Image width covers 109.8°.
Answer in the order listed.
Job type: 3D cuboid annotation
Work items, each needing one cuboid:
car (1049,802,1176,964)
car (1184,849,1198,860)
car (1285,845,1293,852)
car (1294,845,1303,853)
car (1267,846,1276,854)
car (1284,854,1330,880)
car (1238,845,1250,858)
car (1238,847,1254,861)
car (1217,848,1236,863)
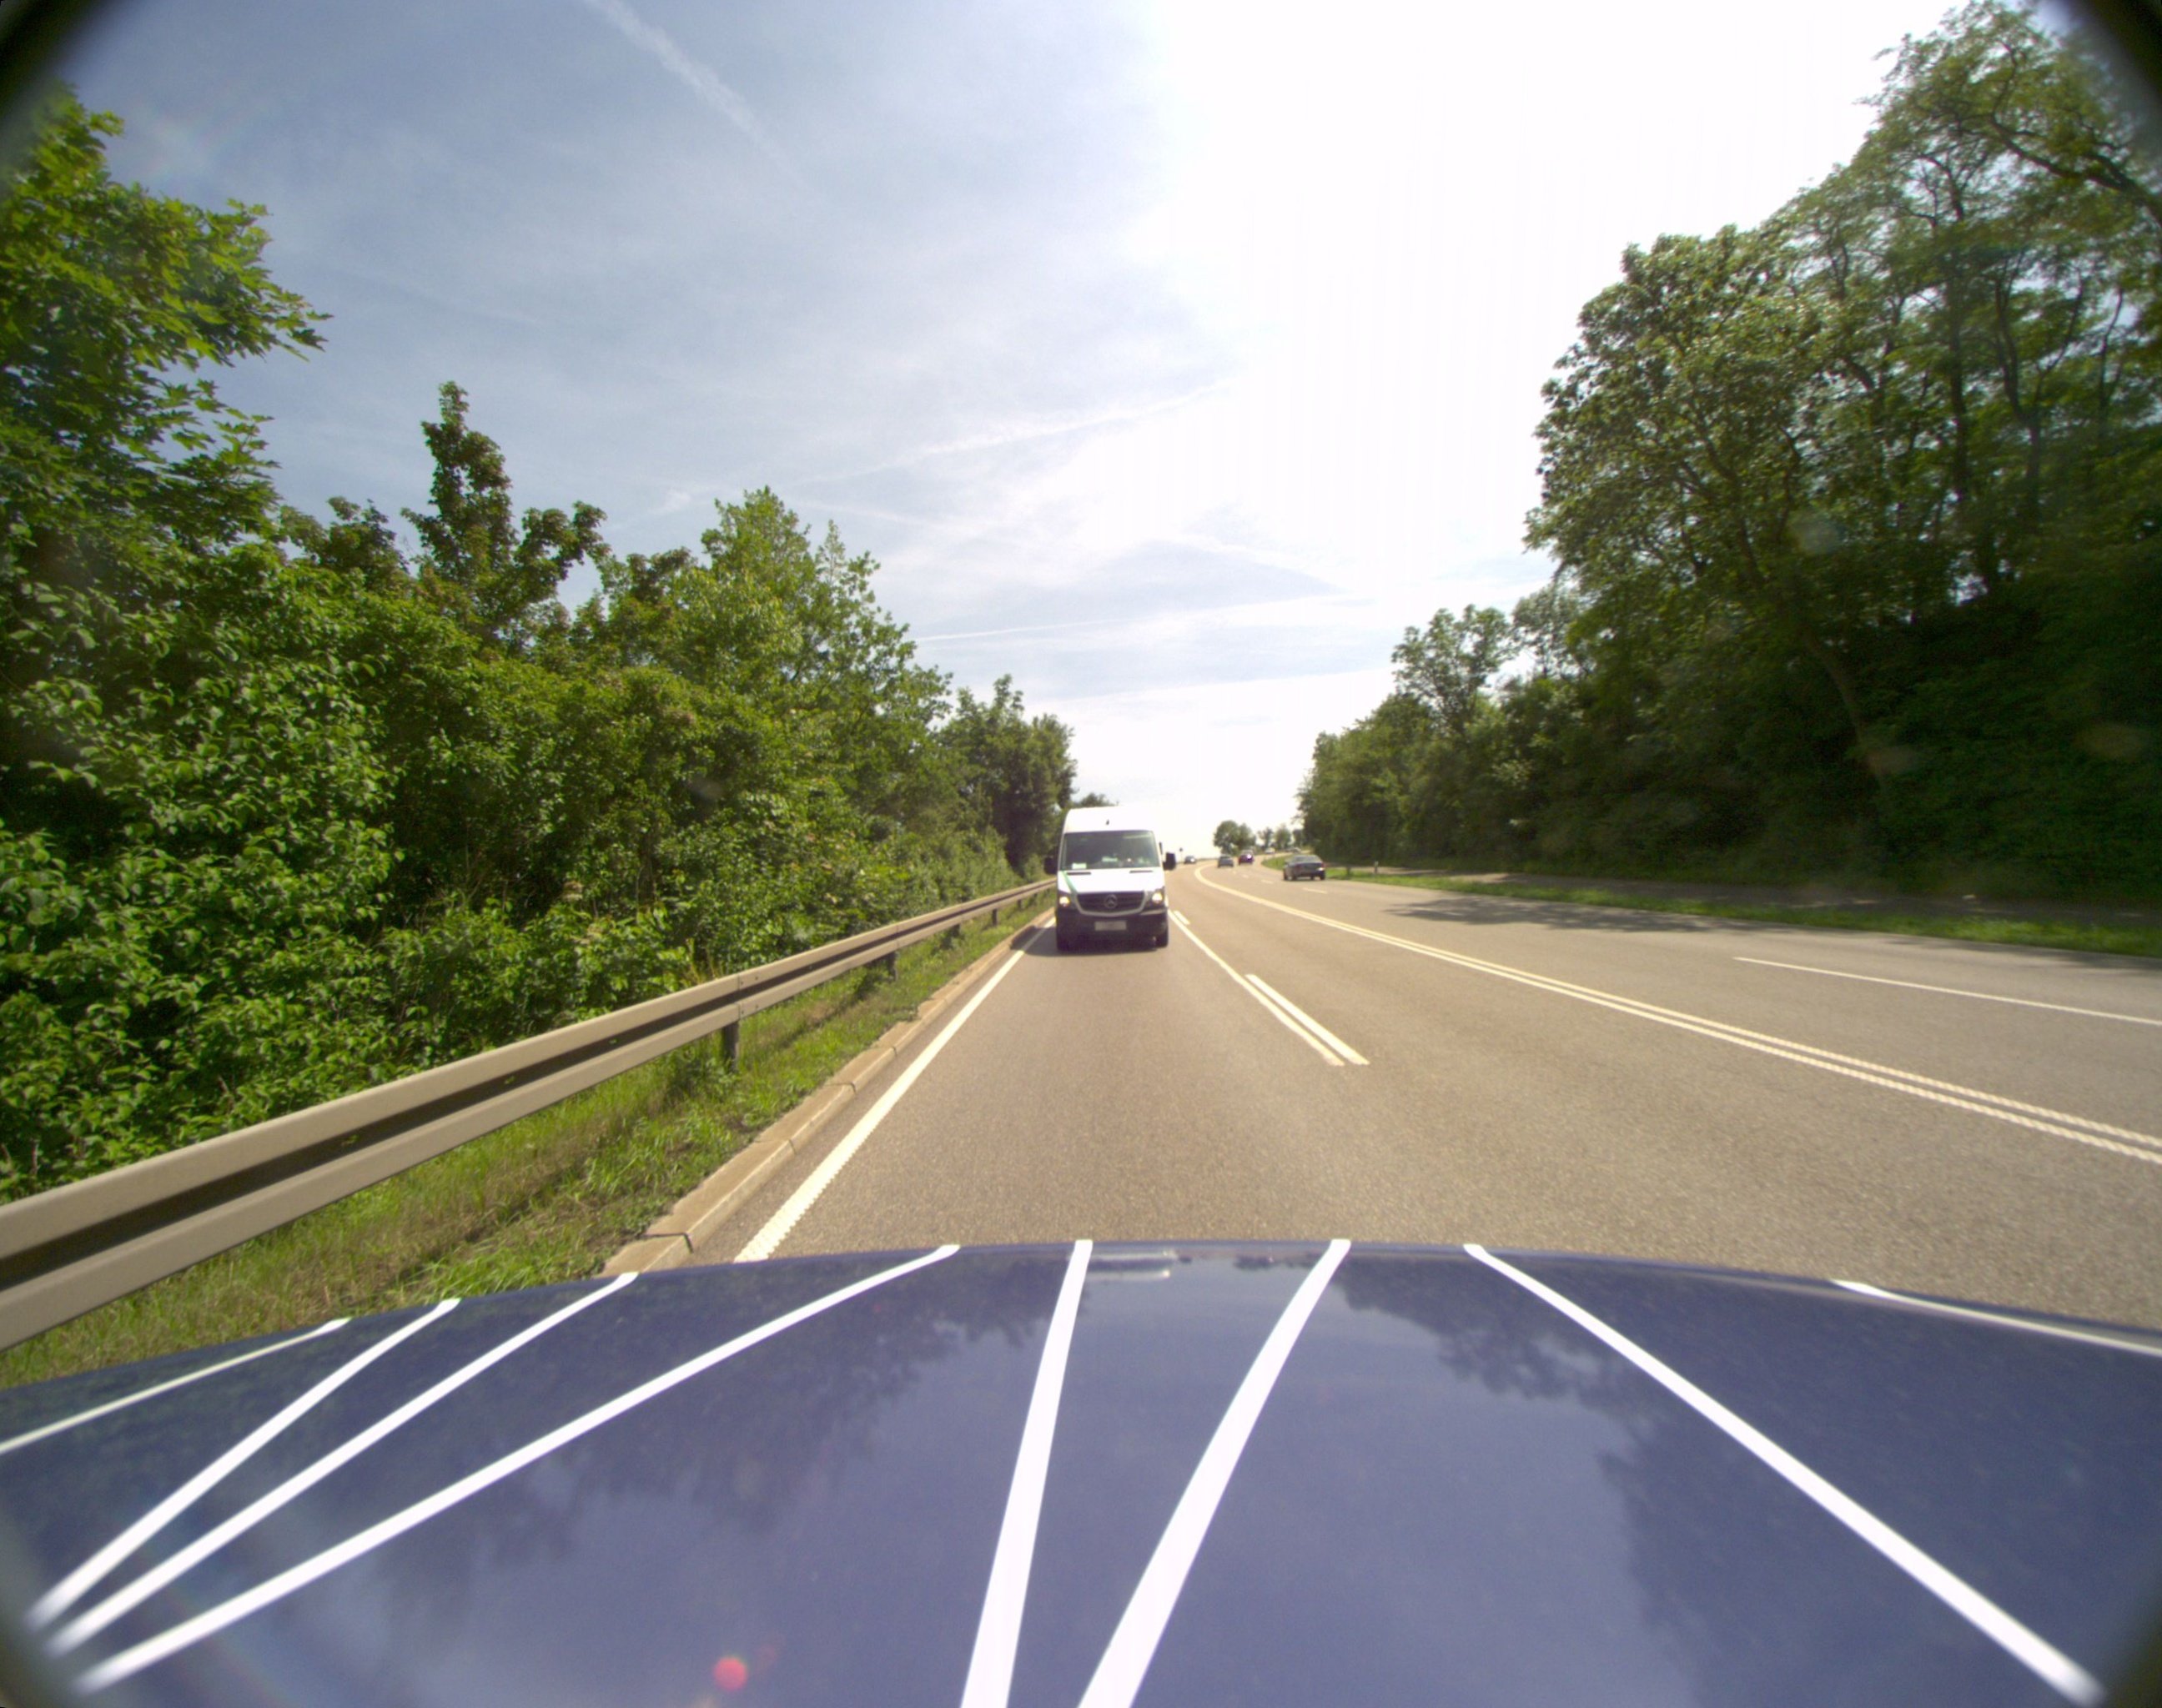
[{"bbox_3d":[0.527,0.463,14.505,1.958,2.502,5.267,-1,0,1],"label":"car"},{"bbox_3d":[18.190,0.028,125.419,1.997,1.718,4.003,-2,1,13],"label":"car"},{"bbox_3d":[64.729,-1.698,236.803,1.763,1.849,3.815,-2,1,26],"label":"car"},{"bbox_3d":[62.688,-1.428,219.357,1.995,2.002,4.006,-2,1,23],"label":"car"},{"bbox_3d":[54.572,-1.147,217.486,1.848,2.002,3.878,-2,1,26],"label":"car"},{"bbox_3d":[12.699,0.703,42.931,1.806,1.379,3.872,-2,0,6],"label":"car"},{"bbox_3d":[26.859,-0.431,124.849,1.815,2.002,3.873,-2,1,13],"label":"car"},{"bbox_3d":[21.428,-0.067,98.657,1.997,1.665,4.003,-2,1,13],"label":"car"},{"bbox_3d":[17.047,0.182,88.809,1.958,1.718,3.914,-2,0,13],"label":"car"}]
